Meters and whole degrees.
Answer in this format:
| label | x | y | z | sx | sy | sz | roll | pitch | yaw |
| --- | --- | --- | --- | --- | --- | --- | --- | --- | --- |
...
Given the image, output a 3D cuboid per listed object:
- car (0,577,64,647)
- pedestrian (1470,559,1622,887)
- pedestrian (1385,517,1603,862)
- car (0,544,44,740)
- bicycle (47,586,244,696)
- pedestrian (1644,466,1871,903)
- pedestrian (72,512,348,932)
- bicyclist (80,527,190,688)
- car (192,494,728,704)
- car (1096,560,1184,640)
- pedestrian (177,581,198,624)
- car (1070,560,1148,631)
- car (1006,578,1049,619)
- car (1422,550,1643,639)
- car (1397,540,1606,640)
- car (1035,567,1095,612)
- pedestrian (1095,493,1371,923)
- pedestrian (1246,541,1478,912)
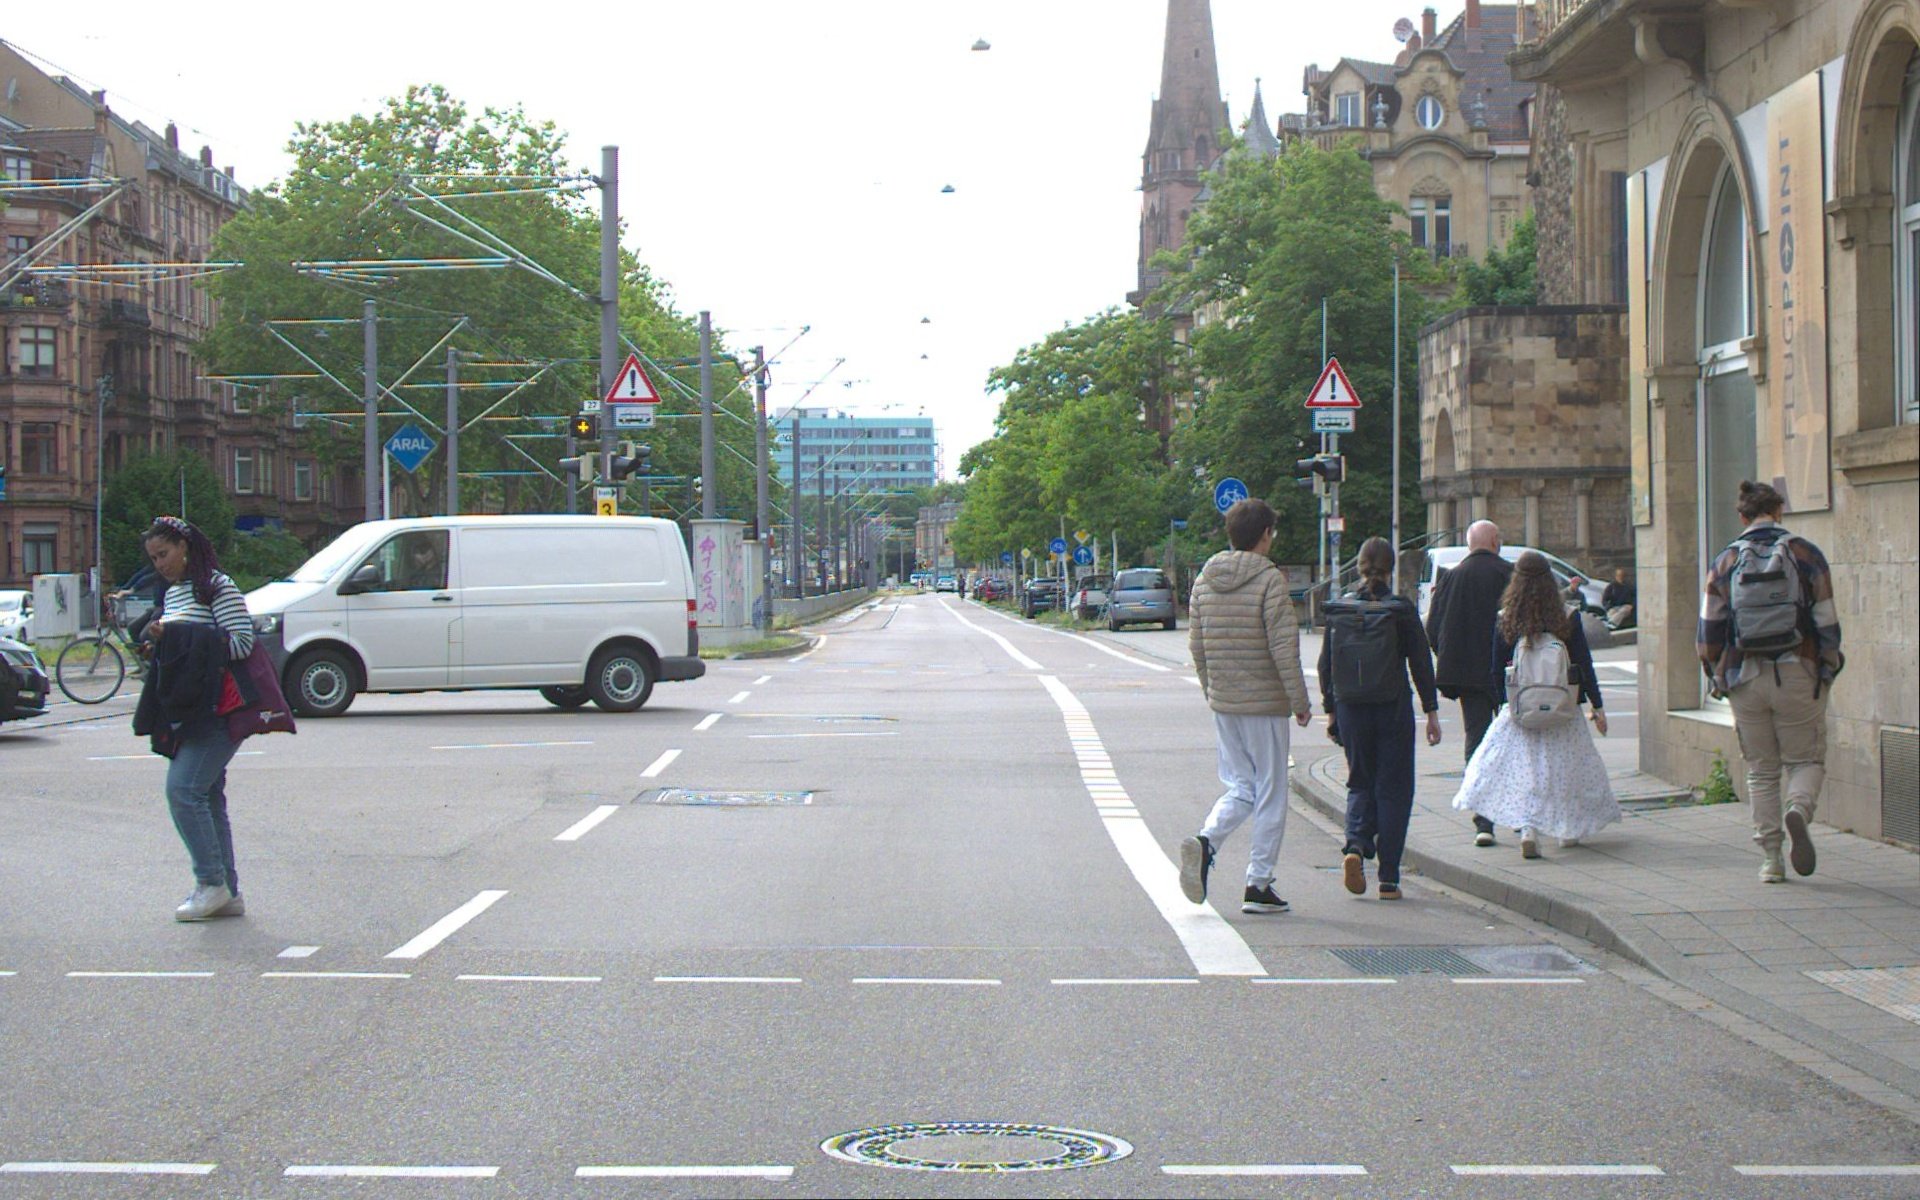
| label | x | y | z | sx | sy | sz | roll | pitch | yaw |
| --- | --- | --- | --- | --- | --- | --- | --- | --- | --- |
| car | -22.074 | 0.256 | 79.165 | 1.894 | 1.552 | 3.836 | 1 | 0 | -1 |
| pedestrian | 2.928 | 0.598 | 17.245 | 0.700 | 1.587 | 0.831 | 1 | 0 | 8 |
| pedestrian | 2.832 | 0.456 | 18.232 | 0.917 | 1.778 | 0.646 | 1 | 0 | 37 |
| car | -9.798 | 0.308 | 27.802 | 4.325 | 1.581 | 1.812 | 1 | 0 | -26 |
| bicycle | -8.634 | 0.437 | 36.457 | 1.937 | 1.132 | 0.736 | 1 | 0 | -21 |
| pedestrian | 3.405 | 0.346 | 14.625 | 0.627 | 1.772 | 1.132 | -3 | -1 | 25 |
| pedestrian | -3.105 | 0.483 | 14.253 | 0.671 | 1.674 | 0.866 | 1 | 0 | 38 |
| bicyclist | -8.738 | 0.078 | 36.419 | 1.038 | 1.678 | 0.645 | 1 | 0 | -20 |
| car | -4.952 | 0.004 | 34.143 | 4.863 | 1.960 | 1.989 | 1 | 0 | -26 |
| car | 4.692 | -0.009 | 90.139 | 1.993 | 2.007 | 4.000 | 1 | 0 | -1 |
| pedestrian | -26.708 | 0.084 | 118.804 | 0.452 | 1.455 | 0.524 | 1 | 0 | 42 |
| car | 4.288 | -0.140 | 99.680 | 1.993 | 2.007 | 4.000 | 1 | 0 | -1 |
| car | 3.352 | -0.108 | 172.302 | 1.993 | 2.007 | 4.000 | 1 | 0 | -1 |
| car | 10.773 | -0.112 | 64.916 | 3.799 | 1.595 | 2.000 | 1 | 0 | 0 |
| car | 10.735 | -0.205 | 68.326 | 3.799 | 1.897 | 2.000 | 1 | 0 | 0 |
| car | 3.917 | -0.398 | 128.494 | 1.993 | 1.602 | 4.164 | -2 | 0 | -1 |
| pedestrian | 1.180 | 0.455 | 14.914 | 1.011 | 1.807 | 0.585 | 1 | 0 | -23 |
| pedestrian | 1.859 | 0.560 | 15.845 | 0.627 | 1.647 | 0.994 | 1 | 0 | 37 |
